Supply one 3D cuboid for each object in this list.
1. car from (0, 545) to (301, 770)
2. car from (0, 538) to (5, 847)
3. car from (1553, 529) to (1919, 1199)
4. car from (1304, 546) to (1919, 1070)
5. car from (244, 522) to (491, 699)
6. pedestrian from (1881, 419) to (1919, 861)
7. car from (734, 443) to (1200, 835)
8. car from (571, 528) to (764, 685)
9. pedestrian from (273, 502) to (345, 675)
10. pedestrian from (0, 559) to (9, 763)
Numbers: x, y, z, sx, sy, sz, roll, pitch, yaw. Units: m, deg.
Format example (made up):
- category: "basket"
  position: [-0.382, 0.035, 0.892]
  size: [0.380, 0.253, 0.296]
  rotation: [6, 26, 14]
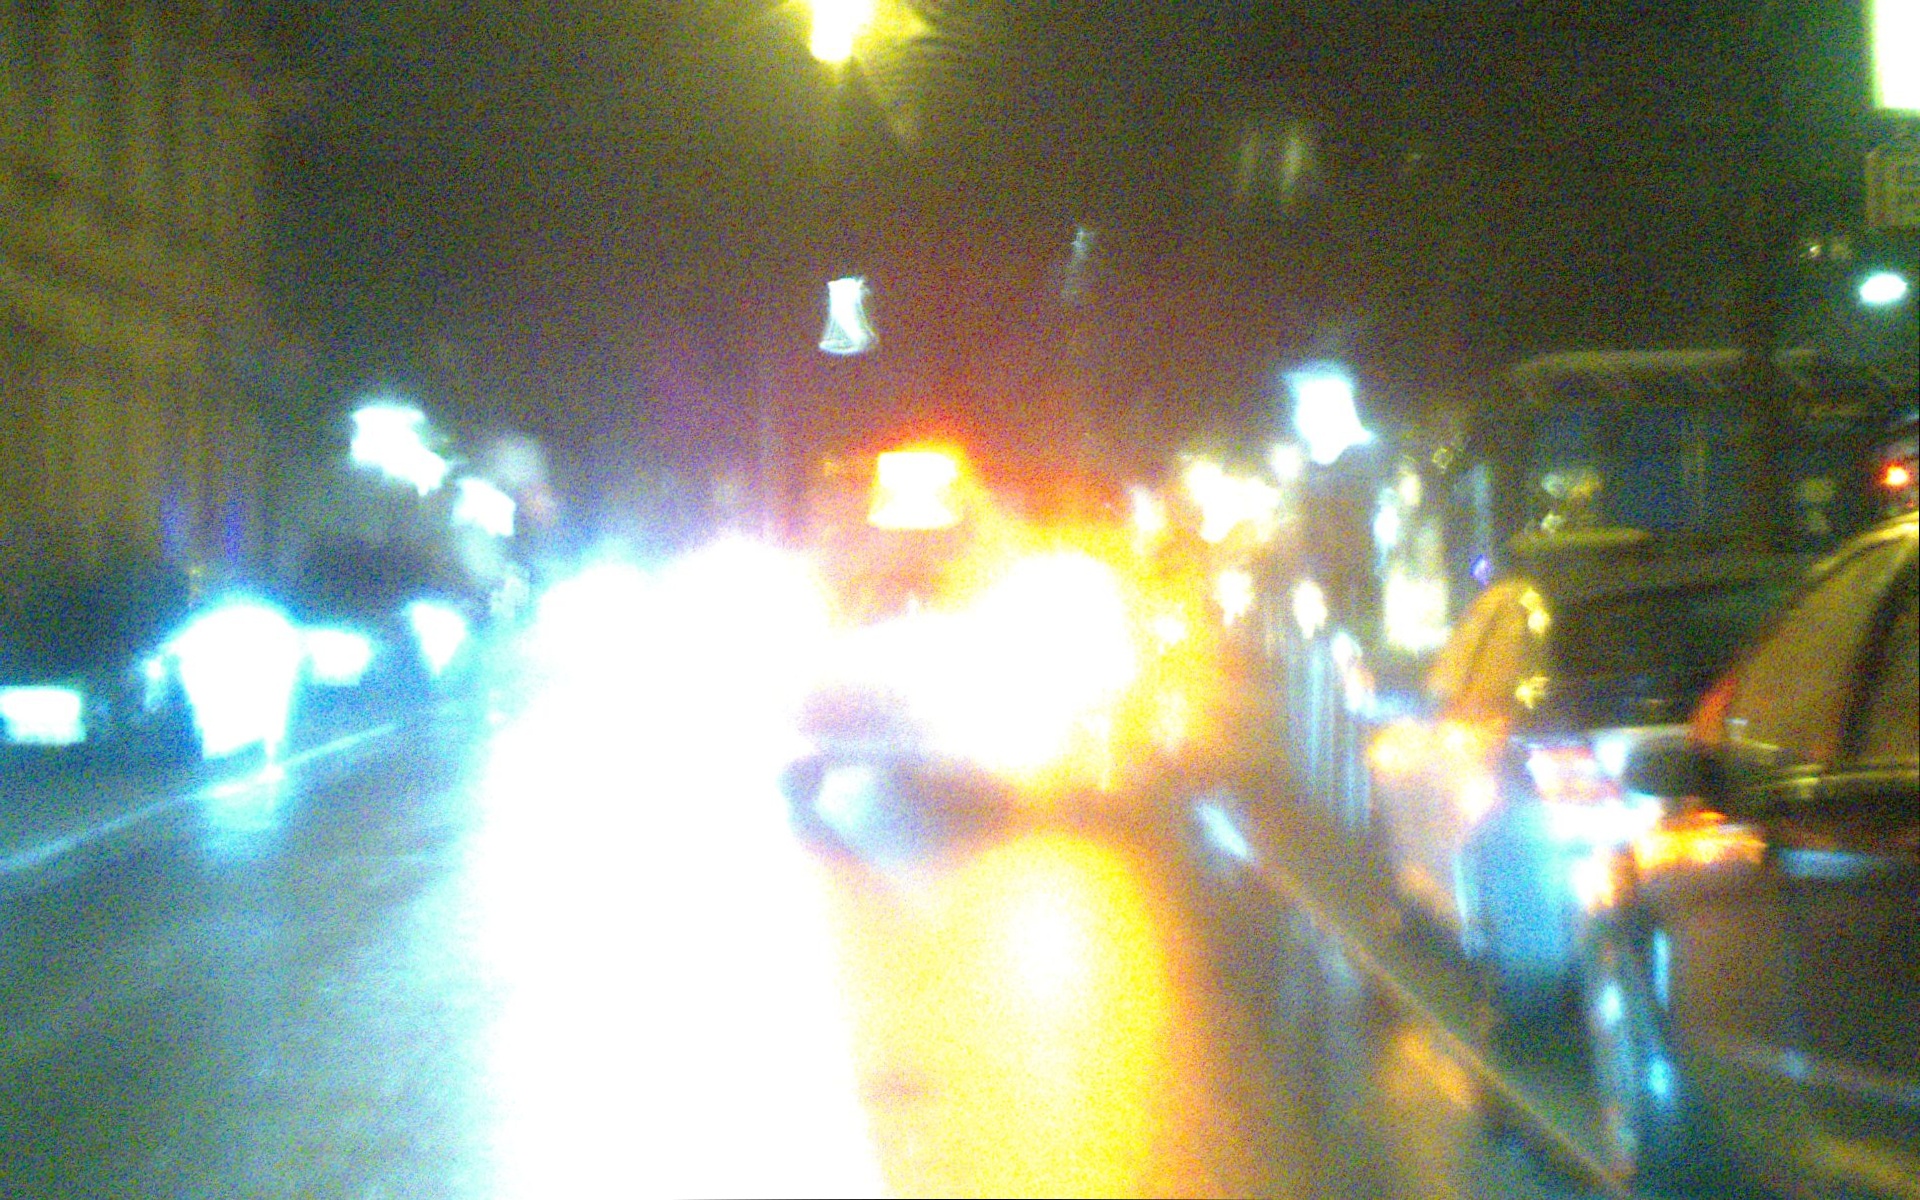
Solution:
- category: "car"
  position: [-6.134, 0.351, 25.029]
  size: [1.832, 1.481, 4.595]
  rotation: [0, 1, -1]
- category: "car"
  position: [-5.763, 0.503, 15.778]
  size: [1.745, 1.583, 3.766]
  rotation: [0, 1, -1]
- category: "car"
  position: [2.330, 0.609, 6.351]
  size: [1.689, 1.493, 3.891]
  rotation: [-1, 1, -1]
- category: "car"
  position: [2.371, 0.539, 11.447]
  size: [1.917, 1.407, 4.000]
  rotation: [-1, 1, -2]
- category: "car"
  position: [-6.103, 0.071, 35.907]
  size: [1.832, 1.711, 4.595]
  rotation: [0, 1, -1]
- category: "pedestrian"
  position: [4.263, 0.151, 13.710]
  size: [0.862, 1.782, 1.083]
  rotation: [-2, 2, 3]
- category: "car"
  position: [0.189, 0.167, 20.402]
  size: [1.996, 2.042, 4.692]
  rotation: [0, 1, 10]
- category: "car"
  position: [-3.291, 0.030, 39.445]
  size: [1.920, 1.612, 4.575]
  rotation: [-2, 1, -2]
- category: "pedestrian"
  position: [-7.539, -0.138, 39.863]
  size: [0.656, 1.967, 0.770]
  rotation: [2, 0, -1]
- category: "pedestrian"
  position: [-7.648, 0.453, 26.346]
  size: [0.656, 1.547, 0.763]
  rotation: [1, 0, -15]
